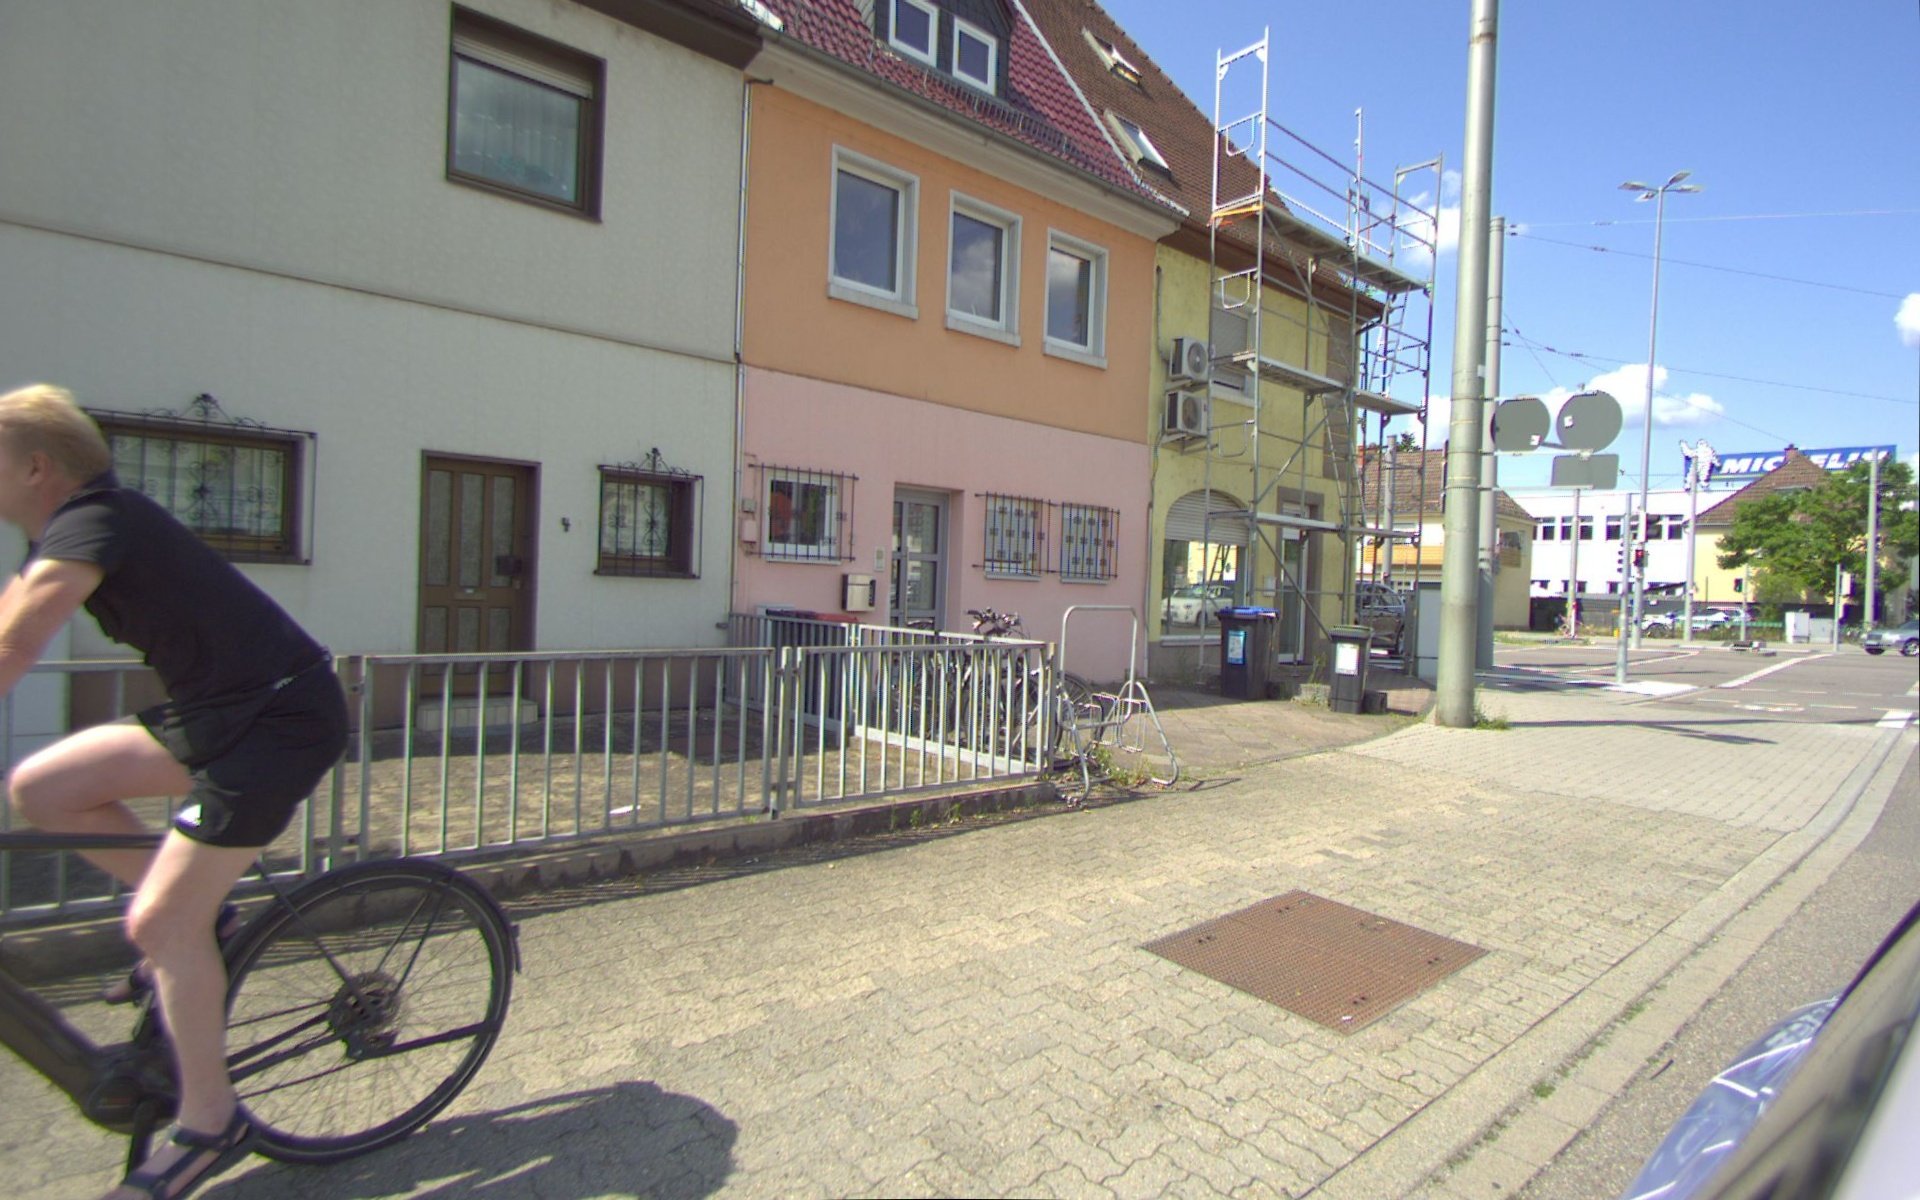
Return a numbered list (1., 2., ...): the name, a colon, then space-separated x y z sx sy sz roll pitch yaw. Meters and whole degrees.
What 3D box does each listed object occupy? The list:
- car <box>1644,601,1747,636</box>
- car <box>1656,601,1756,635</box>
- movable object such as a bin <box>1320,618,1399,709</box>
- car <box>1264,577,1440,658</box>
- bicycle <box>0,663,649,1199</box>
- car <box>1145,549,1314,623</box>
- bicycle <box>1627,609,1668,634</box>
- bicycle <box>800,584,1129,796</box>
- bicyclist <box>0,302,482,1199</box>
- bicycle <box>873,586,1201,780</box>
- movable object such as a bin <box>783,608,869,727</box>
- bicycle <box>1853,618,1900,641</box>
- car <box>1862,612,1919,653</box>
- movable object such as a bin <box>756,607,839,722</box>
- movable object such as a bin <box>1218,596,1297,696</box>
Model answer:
1. car: 37.740 0.941 51.968 4.105 1.617 1.772 2 0 43
2. car: 39.647 0.926 53.822 4.105 1.617 1.772 2 0 43
3. movable object such as a bin: 4.365 0.674 11.053 0.728 0.930 0.512 0 1 -41
4. car: 8.688 0.340 22.303 4.059 1.616 1.997 0 0 -41
5. bicycle: -1.764 0.739 2.105 1.937 1.088 0.830 2 2 -42
6. car: 6.485 -0.303 24.134 4.059 1.616 1.997 0 0 -41
7. bicycle: 32.041 1.000 47.178 1.555 1.152 0.379 0 0 22
8. bicycle: -0.101 0.514 7.191 0.679 1.133 2.731 1 3 -41
9. bicyclist: -1.726 0.401 2.118 1.065 1.816 0.830 2 2 -42
10. bicycle: 0.457 0.510 7.644 0.772 1.118 2.667 0 3 -41
11. movable object such as a bin: -1.138 0.553 8.611 0.548 0.958 0.469 0 1 -41
12. bicycle: 41.550 1.321 45.868 1.722 1.031 0.463 0 0 -1
13. car: 36.038 1.215 37.034 4.380 1.415 1.725 1 0 2
14. movable object such as a bin: -1.438 0.550 8.972 0.548 0.958 0.469 0 2 -41
15. movable object such as a bin: 3.505 0.519 11.908 0.840 1.119 0.512 0 1 -41
